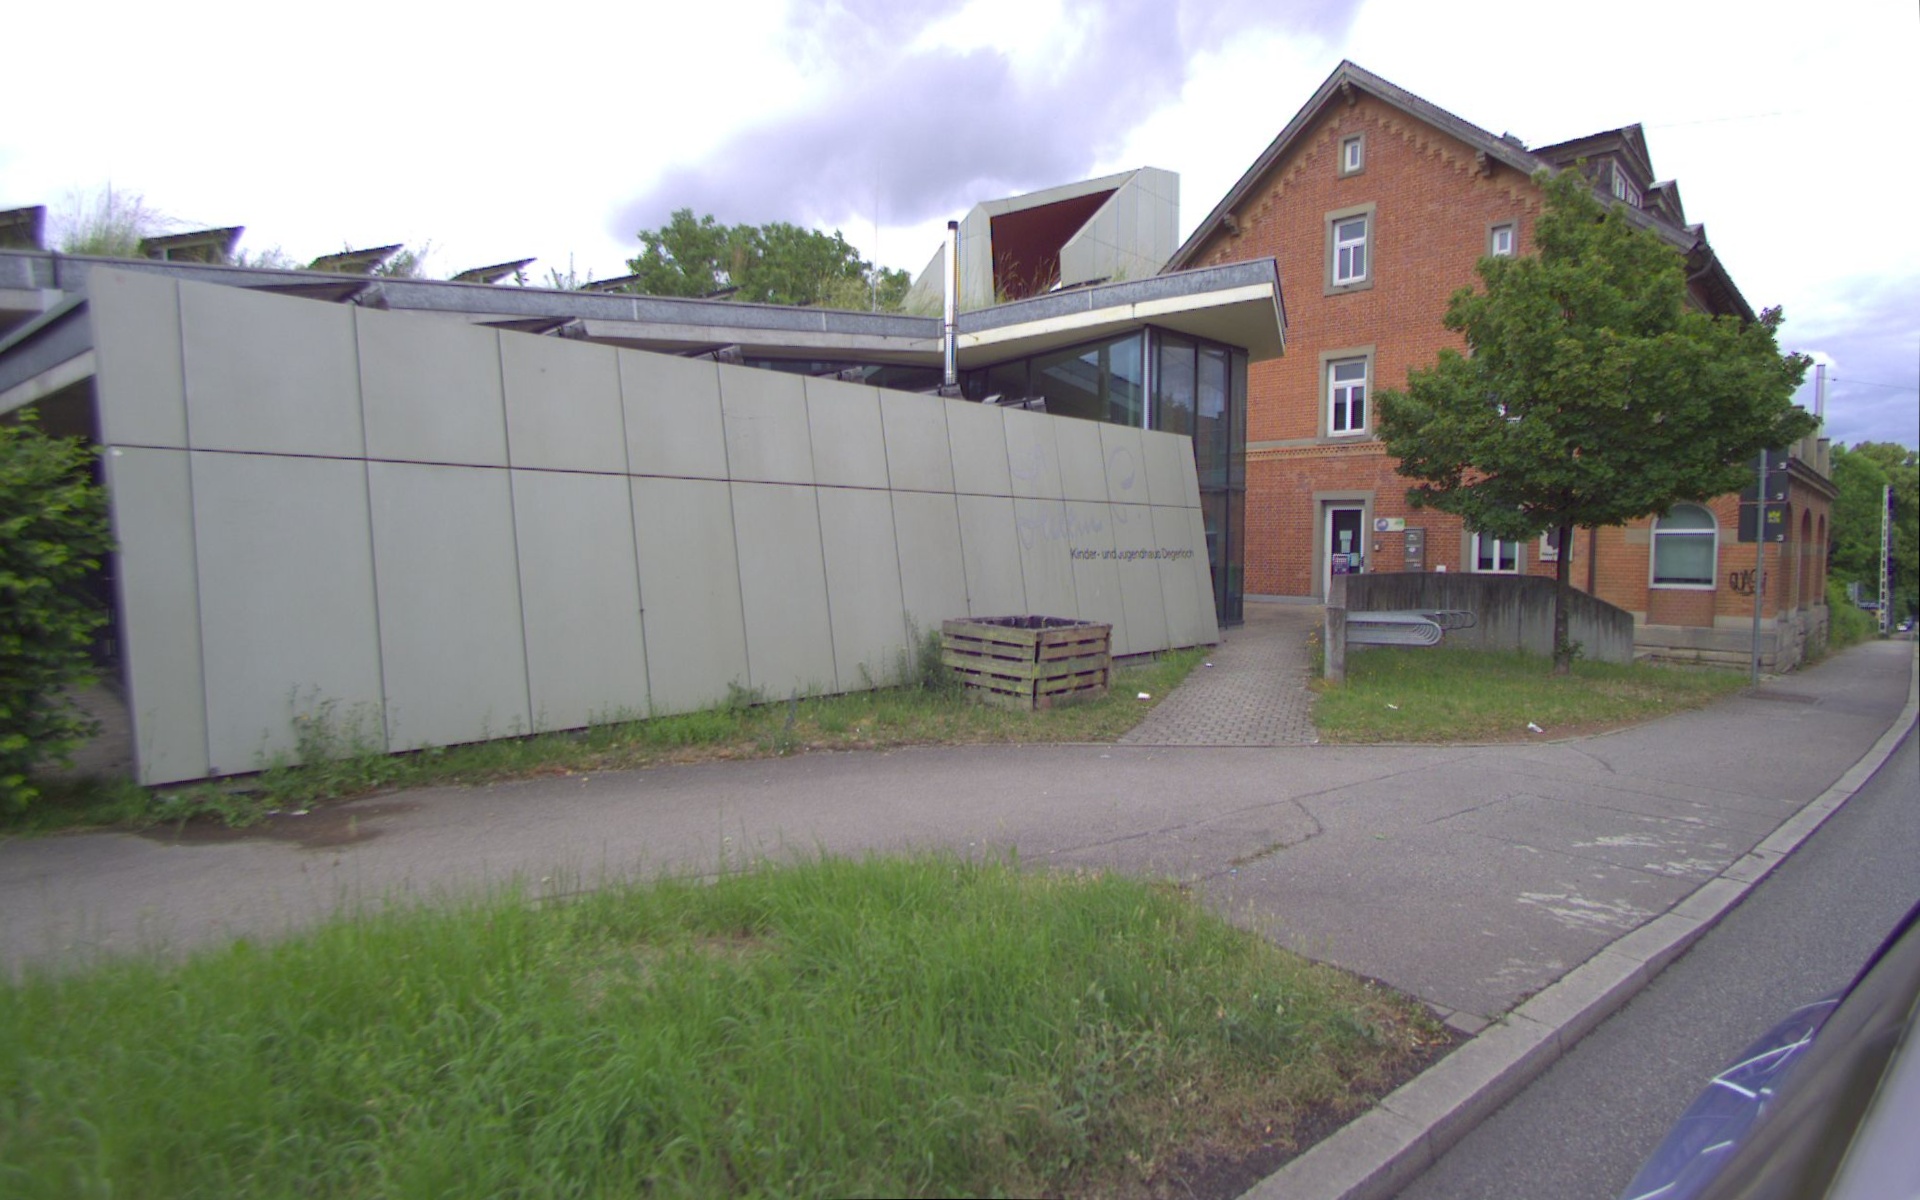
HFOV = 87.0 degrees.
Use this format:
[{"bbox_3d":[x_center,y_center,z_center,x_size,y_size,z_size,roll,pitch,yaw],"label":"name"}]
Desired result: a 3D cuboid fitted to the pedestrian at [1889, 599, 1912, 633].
[{"bbox_3d":[54.278,0.900,58.393,0.932,1.907,0.814,2,1,-41],"label":"pedestrian"}]
